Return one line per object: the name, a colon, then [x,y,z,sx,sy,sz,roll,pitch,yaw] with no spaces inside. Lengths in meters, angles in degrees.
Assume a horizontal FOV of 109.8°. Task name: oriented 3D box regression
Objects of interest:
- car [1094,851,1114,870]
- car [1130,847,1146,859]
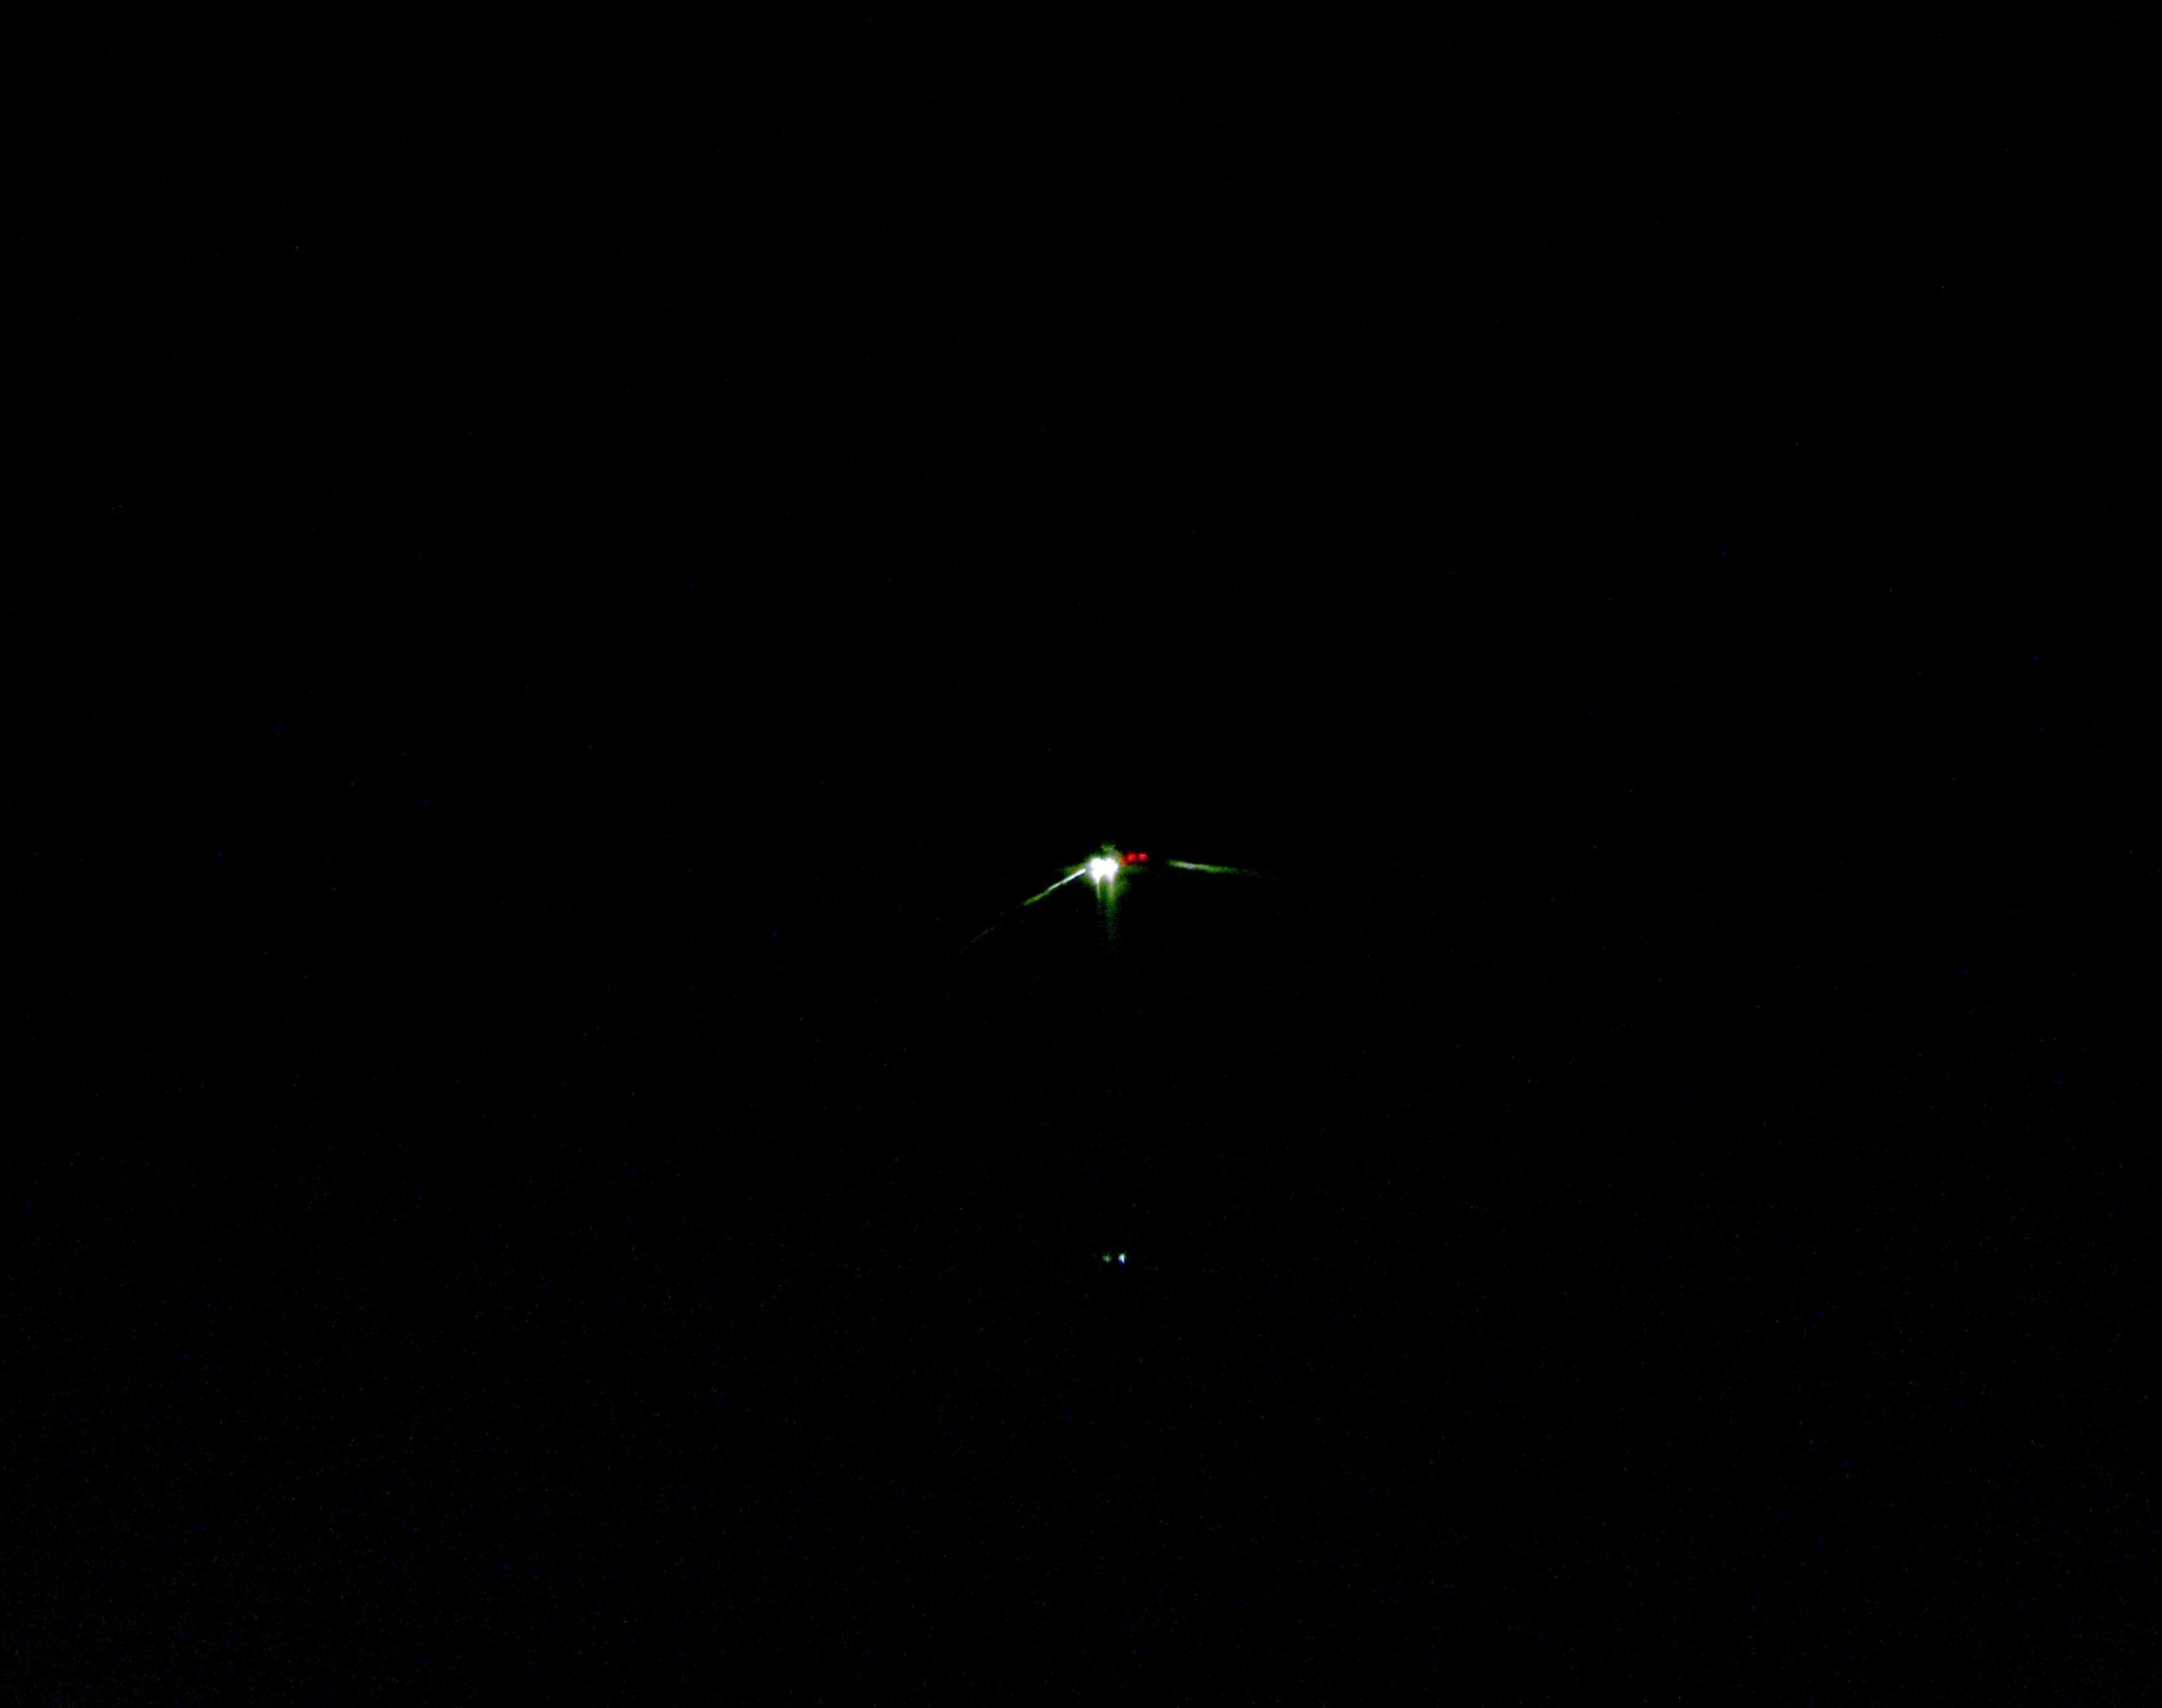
car: [2.505,0.652,82.002,1.998,1.724,4.000,-5,1,3]
car: [7.362,-0.155,98.669,1.822,1.546,3.871,-2,1,1]
